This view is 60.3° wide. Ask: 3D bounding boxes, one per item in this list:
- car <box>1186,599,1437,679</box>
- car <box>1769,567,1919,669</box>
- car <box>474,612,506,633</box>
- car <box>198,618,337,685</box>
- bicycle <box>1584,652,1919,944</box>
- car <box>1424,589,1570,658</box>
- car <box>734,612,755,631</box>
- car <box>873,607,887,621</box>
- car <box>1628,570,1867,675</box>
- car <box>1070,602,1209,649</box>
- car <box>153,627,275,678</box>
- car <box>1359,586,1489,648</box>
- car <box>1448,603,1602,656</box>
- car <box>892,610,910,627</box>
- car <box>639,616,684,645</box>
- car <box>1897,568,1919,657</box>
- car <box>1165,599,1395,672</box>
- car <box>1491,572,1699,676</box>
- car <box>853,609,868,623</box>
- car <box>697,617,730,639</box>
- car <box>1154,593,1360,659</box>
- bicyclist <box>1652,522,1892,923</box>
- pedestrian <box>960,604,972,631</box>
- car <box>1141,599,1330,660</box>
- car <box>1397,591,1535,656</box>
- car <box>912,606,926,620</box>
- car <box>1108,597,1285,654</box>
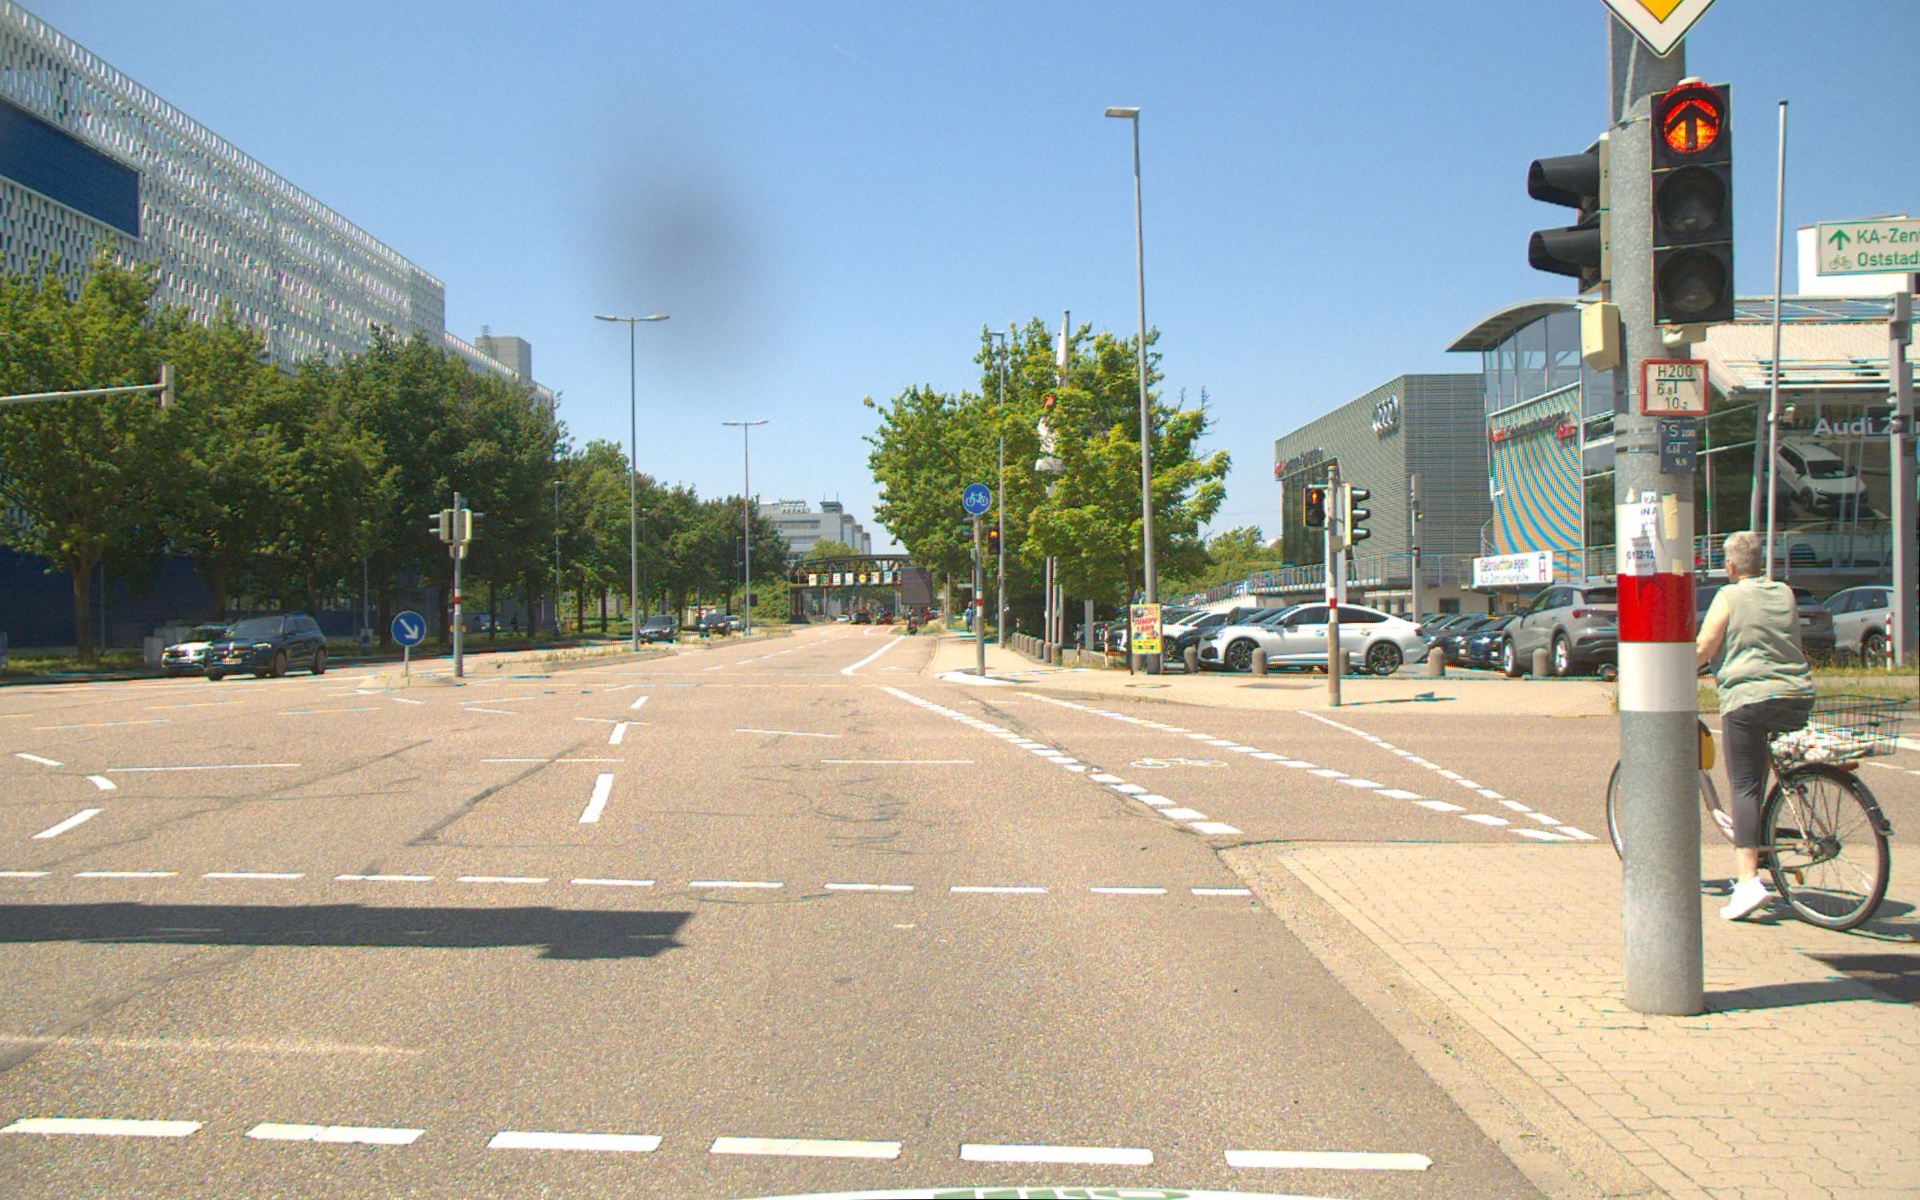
[{"bbox_3d":[6.997,0.766,33.302,4.643,1.482,2.000,-1,0,1],"label":"car"},{"bbox_3d":[16.479,0.255,29.411,1.953,1.668,4.440,-1,0,-1],"label":"car"},{"bbox_3d":[-43.716,2.057,153.857,1.971,1.842,3.991,1,0,-29],"label":"car"},{"bbox_3d":[-18.263,1.321,43.837,1.837,1.626,4.495,-1,-1,-1],"label":"car"},{"bbox_3d":[3.794,0.861,7.916,0.771,1.147,1.919,0,0,-4],"label":"bicycle"},{"bbox_3d":[16.778,0.721,51.805,3.905,2.049,2.000,-1,0,0],"label":"car"},{"bbox_3d":[-19.402,1.900,148.957,1.617,1.682,4.159,-1,0,-5],"label":"car"},{"bbox_3d":[-10.627,1.832,219.988,1.736,1.758,3.999,-1,-1,-1],"label":"car"},{"bbox_3d":[13.686,0.353,29.092,1.953,1.668,4.557,-1,0,-1],"label":"car"},{"bbox_3d":[6.370,0.906,58.908,4.646,1.482,1.999,-2,0,-3],"label":"car"},{"bbox_3d":[-23.783,1.647,52.889,1.587,1.483,4.074,-1,-1,9],"label":"car"},{"bbox_3d":[15.974,0.585,57.107,3.905,2.049,2.000,-1,0,0],"label":"car"},{"bbox_3d":[16.864,0.872,49.464,4.008,1.486,1.719,-1,0,0],"label":"car"},{"bbox_3d":[-3.736,1.177,105.165,1.114,1.060,2.308,-1,0,-1],"label":"car"},{"bbox_3d":[-15.752,1.609,87.350,1.697,1.452,3.705,-2,-1,-1],"label":"car"},{"bbox_3d":[18.846,0.226,29.299,1.847,1.668,4.524,-1,0,-1],"label":"car"},{"bbox_3d":[6.898,0.762,36.023,4.643,1.482,2.000,-1,-1,1],"label":"car"},{"bbox_3d":[11.062,0.377,29.147,1.953,1.668,4.267,-1,0,-1],"label":"car"},{"bbox_3d":[-13.534,2.172,225.327,1.736,1.758,3.999,-1,-1,-1],"label":"car"},{"bbox_3d":[-16.493,1.871,110.833,1.650,1.436,3.664,-1,-1,-1],"label":"car"},{"bbox_3d":[7.120,0.620,40.031,4.643,1.482,2.000,-1,0,1],"label":"car"},{"bbox_3d":[3.780,0.543,7.751,0.719,1.779,0.753,0,0,-5],"label":"bicyclist"},{"bbox_3d":[0.327,1.019,96.301,0.654,1.537,0.736,-1,0,-1],"label":"pedestrian"},{"bbox_3d":[7.264,0.765,43.885,4.646,1.482,1.999,-1,0,-3],"label":"car"},{"bbox_3d":[16.669,0.764,54.619,3.905,2.049,2.000,-1,0,0],"label":"car"},{"bbox_3d":[-5.435,1.735,220.652,1.736,1.758,3.999,-1,-1,-1],"label":"car"},{"bbox_3d":[6.619,0.708,46.643,4.646,1.482,1.999,-1,0,-3],"label":"car"}]
